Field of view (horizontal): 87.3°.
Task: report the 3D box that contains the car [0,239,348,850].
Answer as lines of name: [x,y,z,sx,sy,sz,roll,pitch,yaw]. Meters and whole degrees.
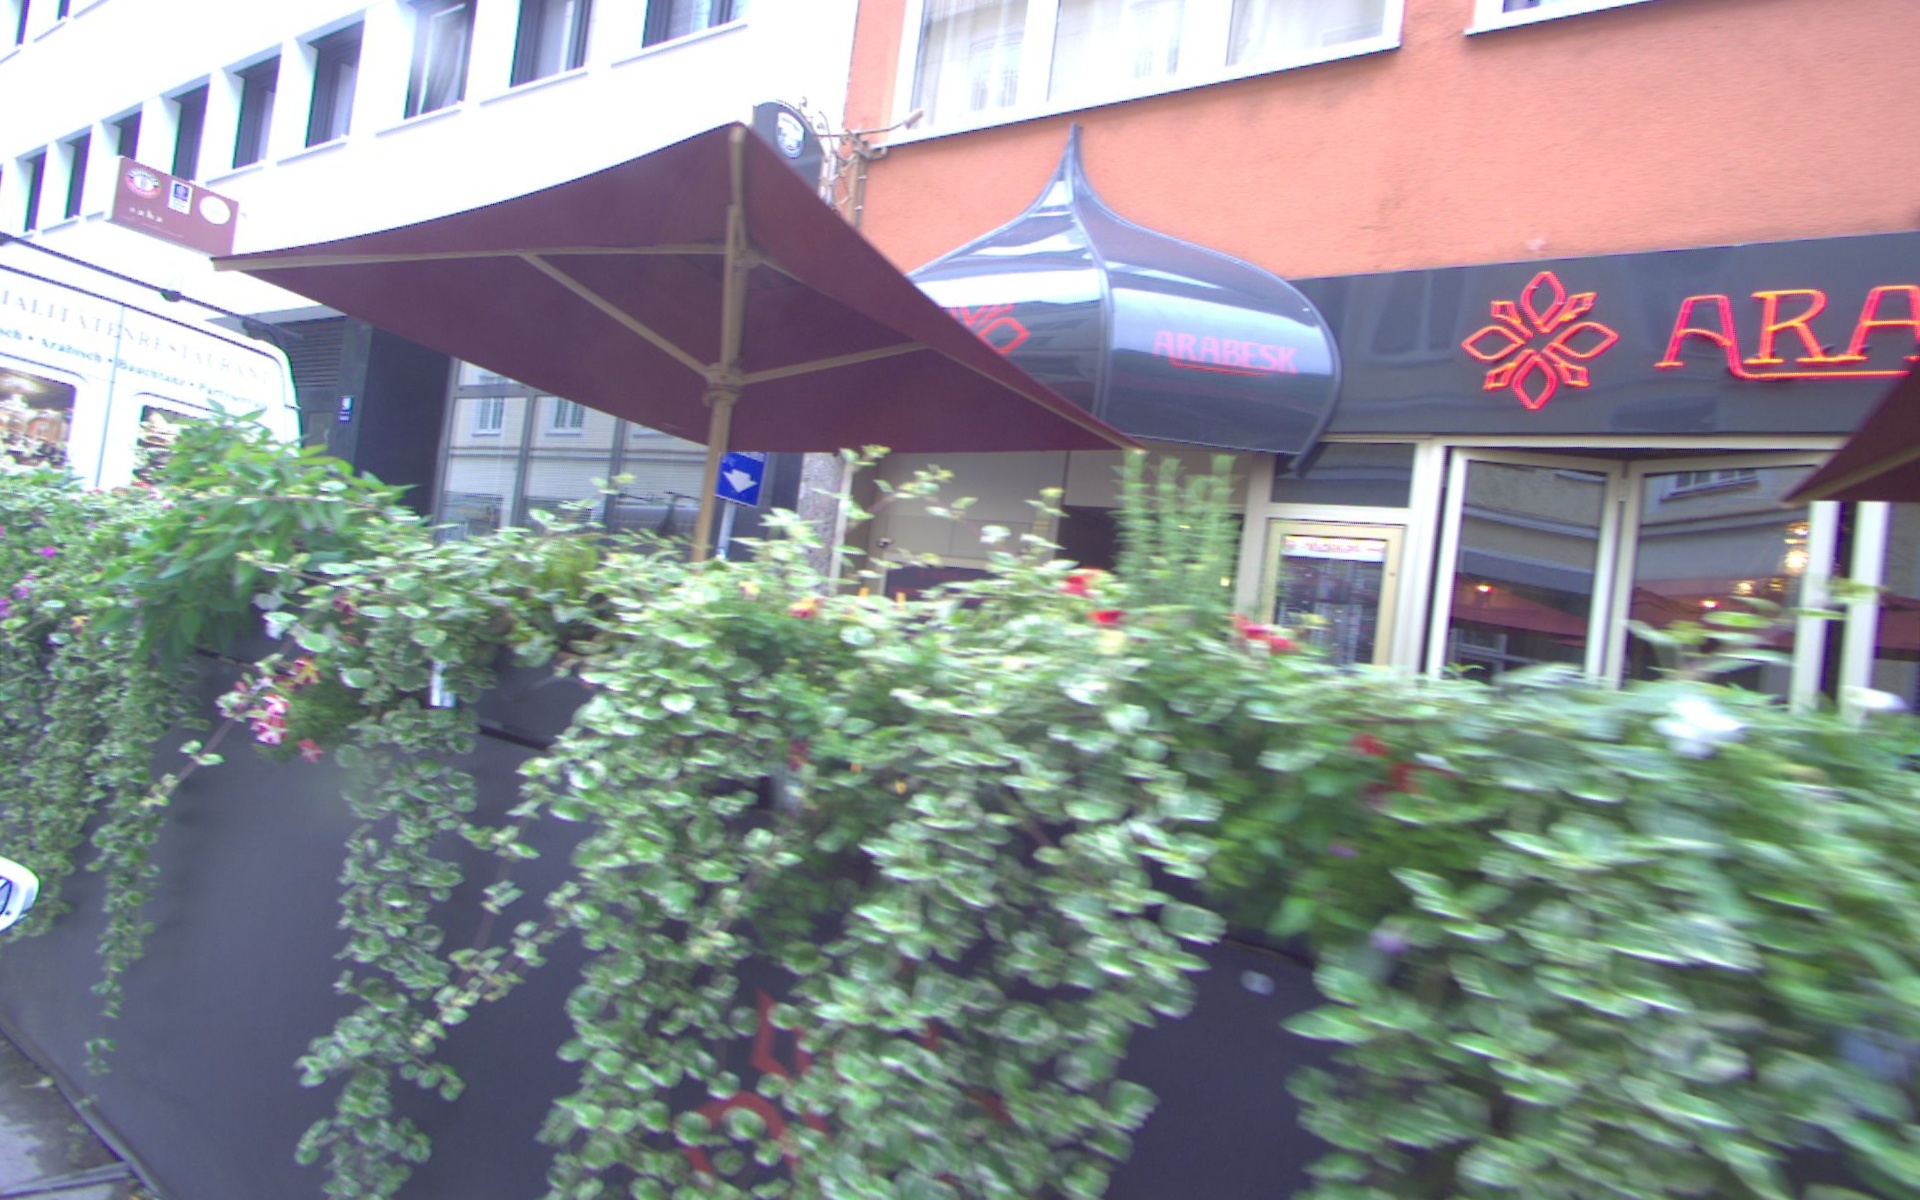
car: [-6.374,-0.465,5.990,5.897,2.534,1.925,7,-3,32]
